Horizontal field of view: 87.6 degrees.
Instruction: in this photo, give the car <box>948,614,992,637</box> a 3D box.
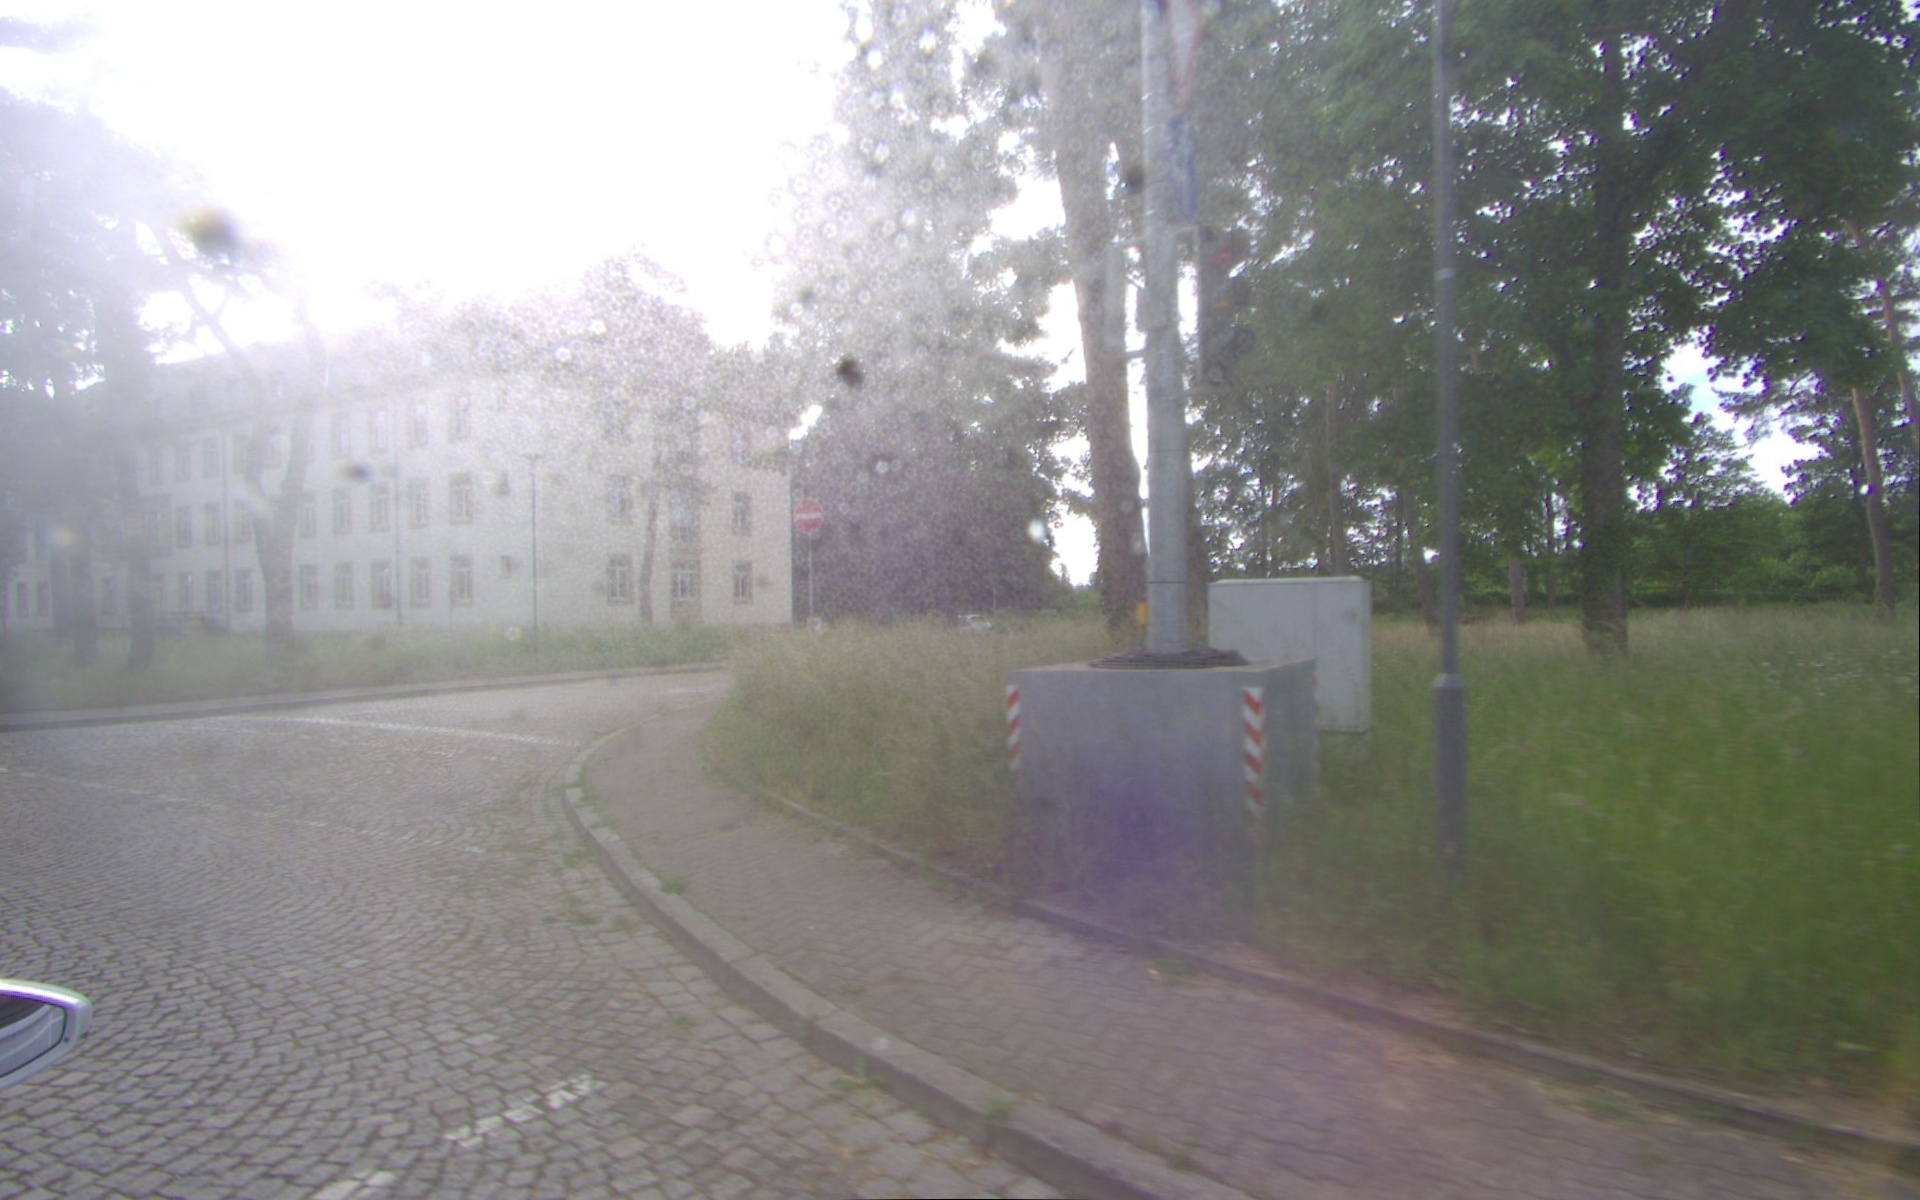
[{"bbox_3d":[0.650,1.621,63.504,1.466,1.455,3.182,-1,-2,29],"label":"car"}]
